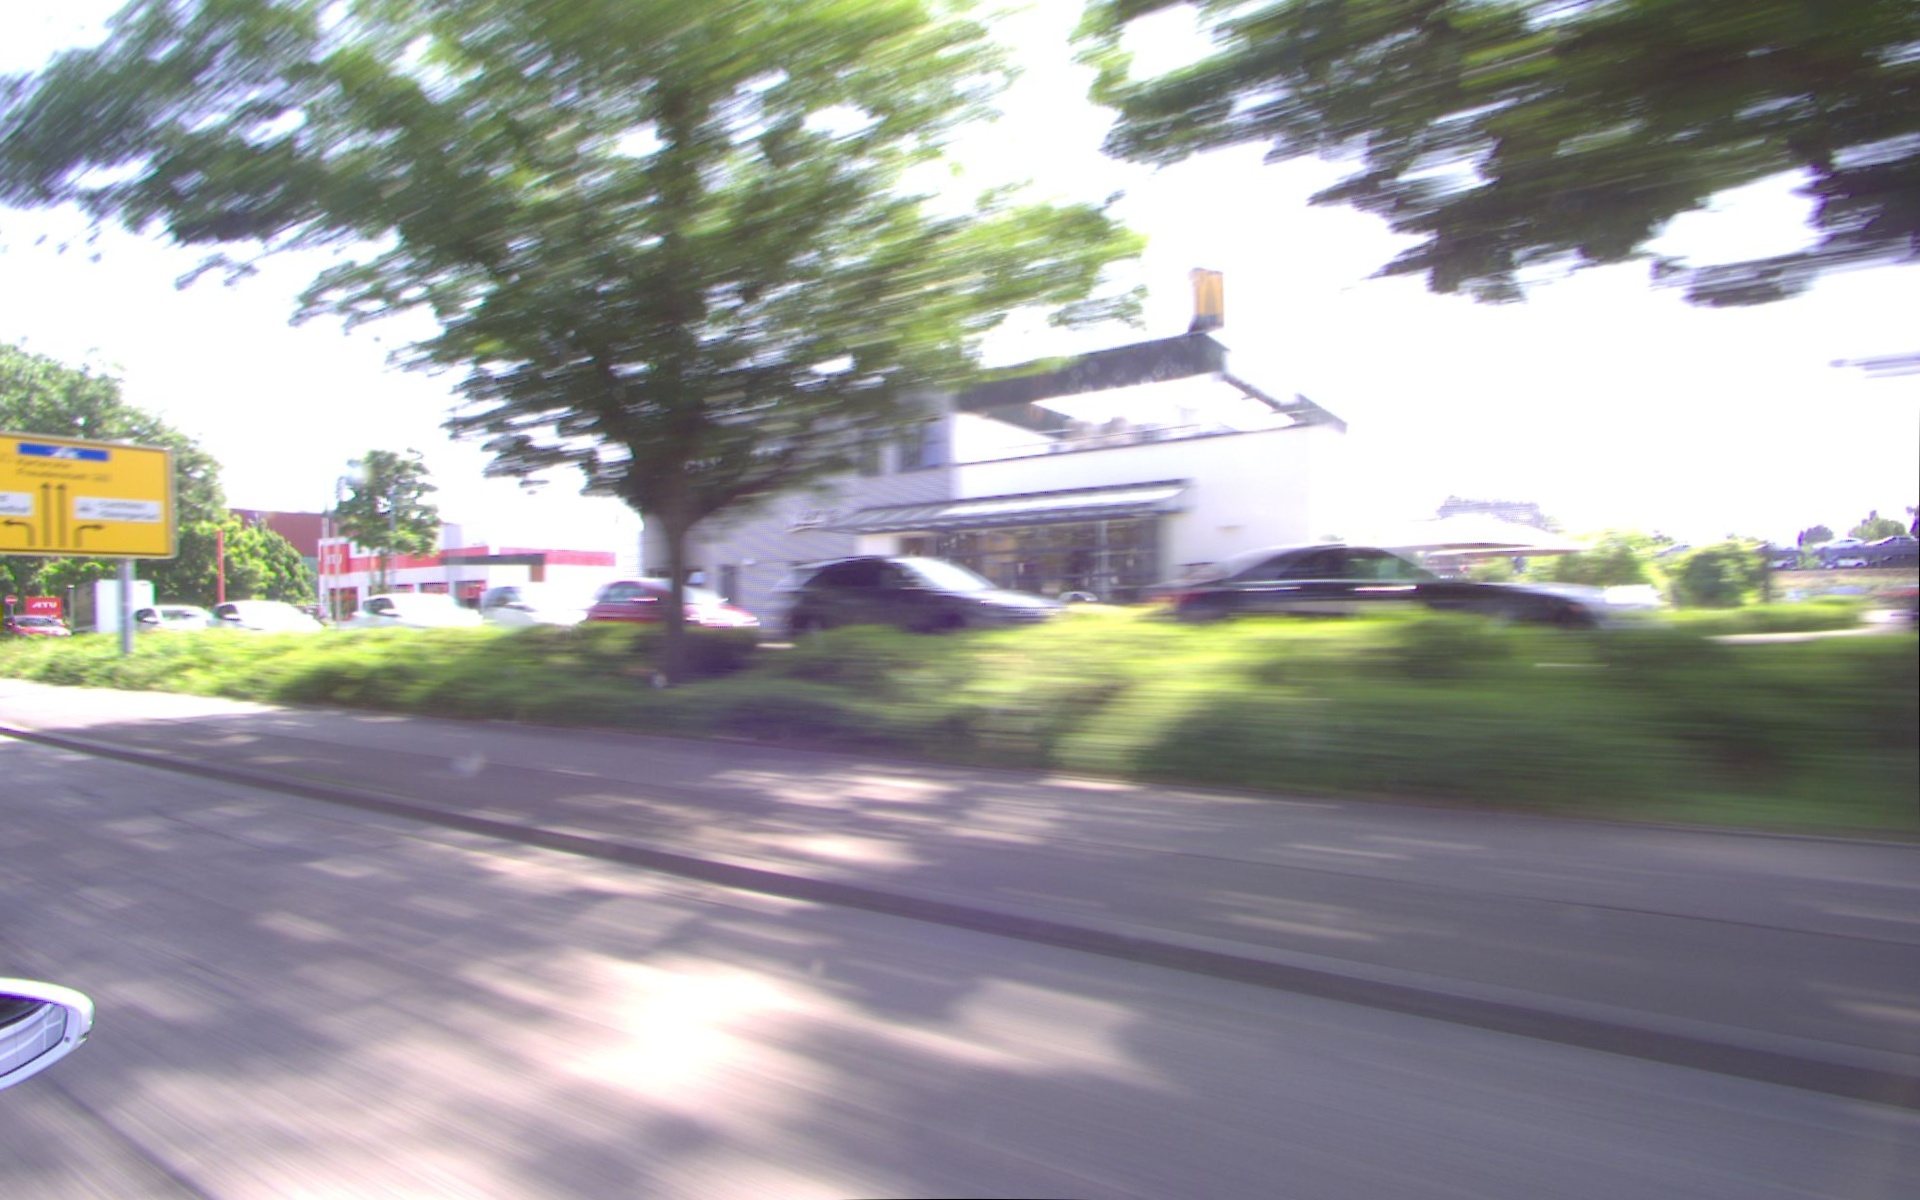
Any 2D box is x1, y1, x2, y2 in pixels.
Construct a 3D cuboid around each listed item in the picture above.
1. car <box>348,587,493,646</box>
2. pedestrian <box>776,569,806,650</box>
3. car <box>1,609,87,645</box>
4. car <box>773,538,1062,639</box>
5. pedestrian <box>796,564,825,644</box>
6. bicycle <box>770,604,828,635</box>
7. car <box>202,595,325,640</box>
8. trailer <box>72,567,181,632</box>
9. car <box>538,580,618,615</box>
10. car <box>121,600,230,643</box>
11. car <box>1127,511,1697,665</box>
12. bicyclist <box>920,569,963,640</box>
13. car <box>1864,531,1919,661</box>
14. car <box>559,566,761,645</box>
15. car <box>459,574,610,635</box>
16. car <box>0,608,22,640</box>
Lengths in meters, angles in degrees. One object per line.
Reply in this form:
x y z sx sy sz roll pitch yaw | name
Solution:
-12.691 0.413 23.476 3.819 1.269 1.613 -2 -2 38 | car
-4.109 0.237 24.373 0.527 1.947 0.464 0 1 34 | pedestrian
-38.025 1.095 41.534 4.264 1.398 1.696 -1 0 34 | car
-0.695 -0.075 14.730 4.143 1.268 1.615 -2 -3 35 | car
-3.700 0.099 24.773 0.403 1.947 0.580 0 1 34 | pedestrian
-5.335 0.633 33.112 2.074 0.993 0.587 -1 1 36 | bicycle
-19.236 0.505 27.614 3.687 1.173 1.589 -2 -2 34 | car
-28.644 0.007 34.337 5.413 2.082 1.695 -1 0 37 | trailer
-20.571 -0.121 53.808 4.568 1.829 1.705 -1 0 34 | car
-24.355 0.684 31.067 3.580 1.269 1.615 -2 -2 33 | car
4.854 -0.039 11.522 5.508 1.469 1.907 -1 -1 23 | car
-0.482 0.108 26.404 0.851 1.828 0.776 0 1 32 | bicyclist
12.449 -0.096 10.316 4.624 1.370 1.952 -1 1 -3 | car
-5.409 0.144 17.866 3.717 1.269 1.613 -2 -2 38 | car
-8.608 0.133 20.246 2.816 1.137 1.504 -2 -2 33 | car
-43.394 1.050 44.505 3.851 1.398 1.696 -1 0 34 | car
